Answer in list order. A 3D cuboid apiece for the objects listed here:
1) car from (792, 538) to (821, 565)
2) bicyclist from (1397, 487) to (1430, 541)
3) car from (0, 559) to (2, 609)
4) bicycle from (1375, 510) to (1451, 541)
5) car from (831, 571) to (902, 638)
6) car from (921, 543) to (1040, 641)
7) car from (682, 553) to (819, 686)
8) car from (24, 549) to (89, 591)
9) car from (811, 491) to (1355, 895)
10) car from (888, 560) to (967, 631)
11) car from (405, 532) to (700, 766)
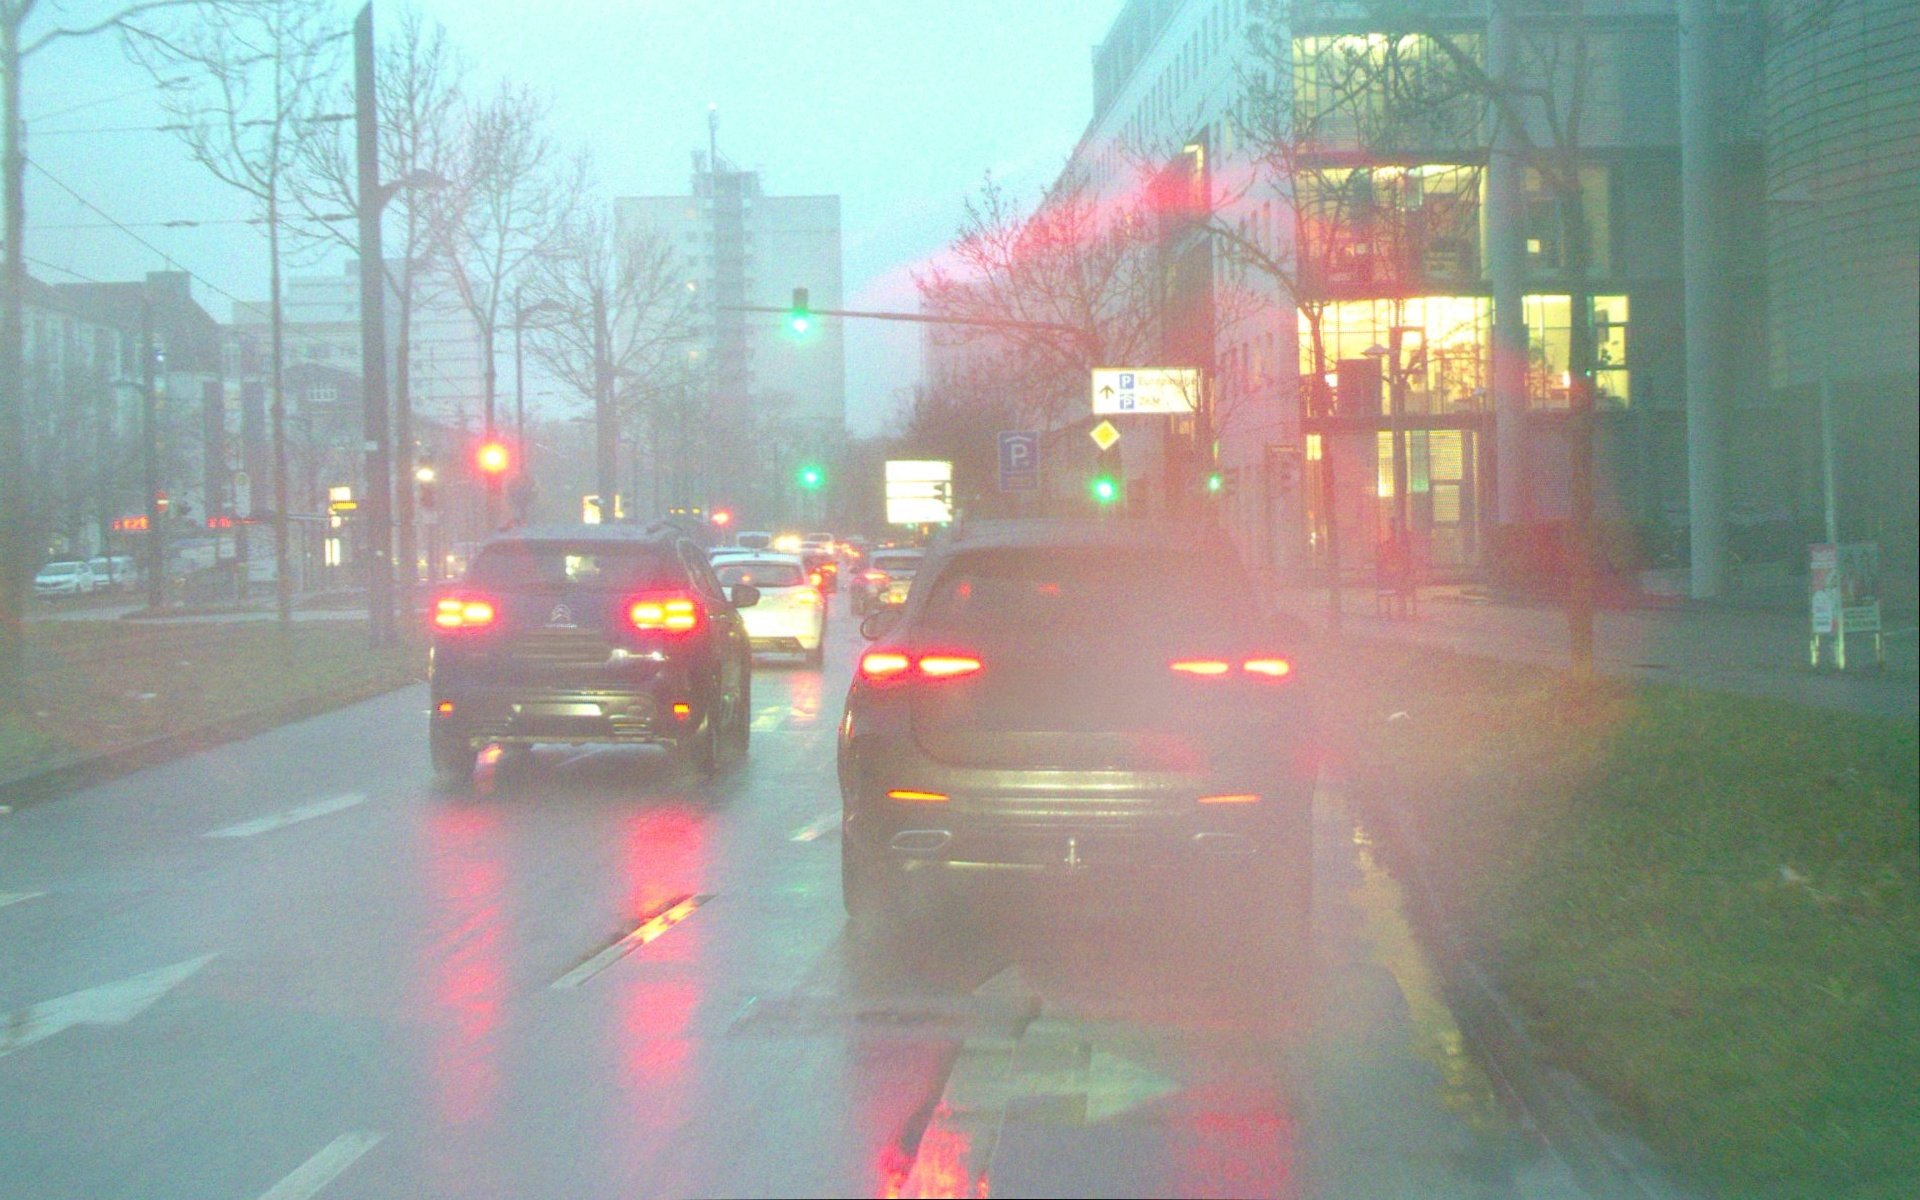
[{"bbox_3d":[-8.798,-2.777,197.064,1.548,1.503,3.387,1,1,-2],"label":"car"},{"bbox_3d":[11.176,-2.124,84.732,0.622,1.325,0.564,1,1,31],"label":"bicyclist"},{"bbox_3d":[-29.304,-0.448,99.861,1.880,1.497,4.791,1,1,-3],"label":"car"},{"bbox_3d":[11.165,-1.826,84.722,1.731,0.743,0.650,1,1,31],"label":"bicycle"},{"bbox_3d":[-2.235,0.088,81.494,1.614,1.516,3.408,1,1,-2],"label":"car"},{"bbox_3d":[0.337,-0.154,56.216,1.867,1.537,3.610,1,1,0],"label":"car"},{"bbox_3d":[-2.704,0.224,44.822,1.689,1.630,3.474,1,1,-3],"label":"car"},{"bbox_3d":[-36.006,-1.205,137.135,1.931,1.591,3.728,1,1,-6],"label":"car"},{"bbox_3d":[0.380,0.329,14.616,1.993,1.478,3.700,1,1,-3],"label":"car"},{"bbox_3d":[-0.737,-0.123,75.643,1.623,1.493,3.526,1,1,-2],"label":"car"},{"bbox_3d":[-2.698,0.278,23.513,1.817,1.445,4.001,1,1,-4],"label":"car"}]
